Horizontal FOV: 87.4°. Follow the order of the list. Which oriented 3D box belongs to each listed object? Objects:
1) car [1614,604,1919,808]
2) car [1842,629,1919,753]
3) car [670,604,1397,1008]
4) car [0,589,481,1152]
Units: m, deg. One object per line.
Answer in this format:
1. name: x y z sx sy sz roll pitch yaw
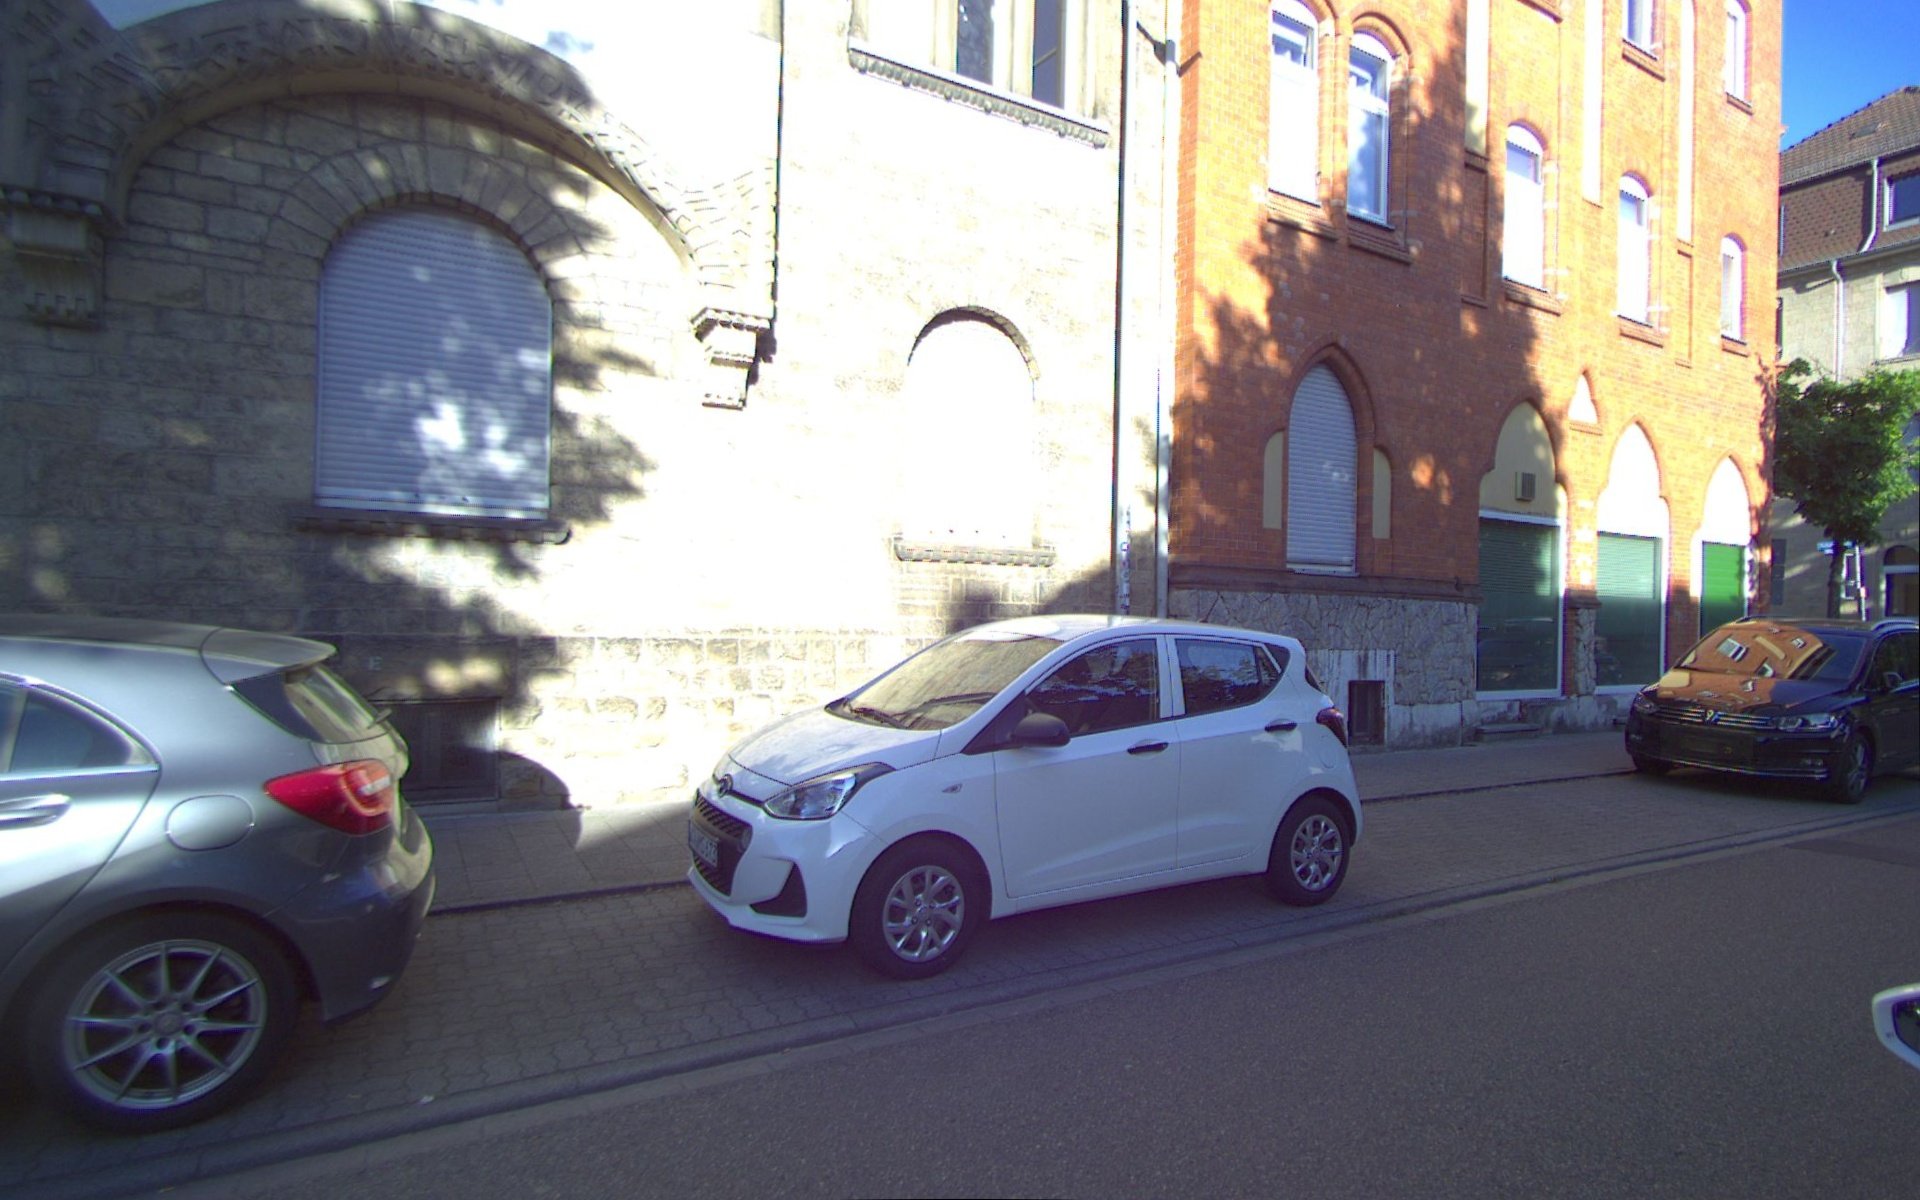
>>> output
1. car: 8.750 0.971 10.392 4.302 1.703 1.660 2 0 -32
2. car: 13.340 1.186 12.955 4.282 1.429 1.627 2 1 -30
3. car: 0.446 0.815 5.313 3.547 1.490 1.560 1 0 -29
4. car: -3.715 0.696 2.895 4.065 1.462 1.668 1 1 -32
